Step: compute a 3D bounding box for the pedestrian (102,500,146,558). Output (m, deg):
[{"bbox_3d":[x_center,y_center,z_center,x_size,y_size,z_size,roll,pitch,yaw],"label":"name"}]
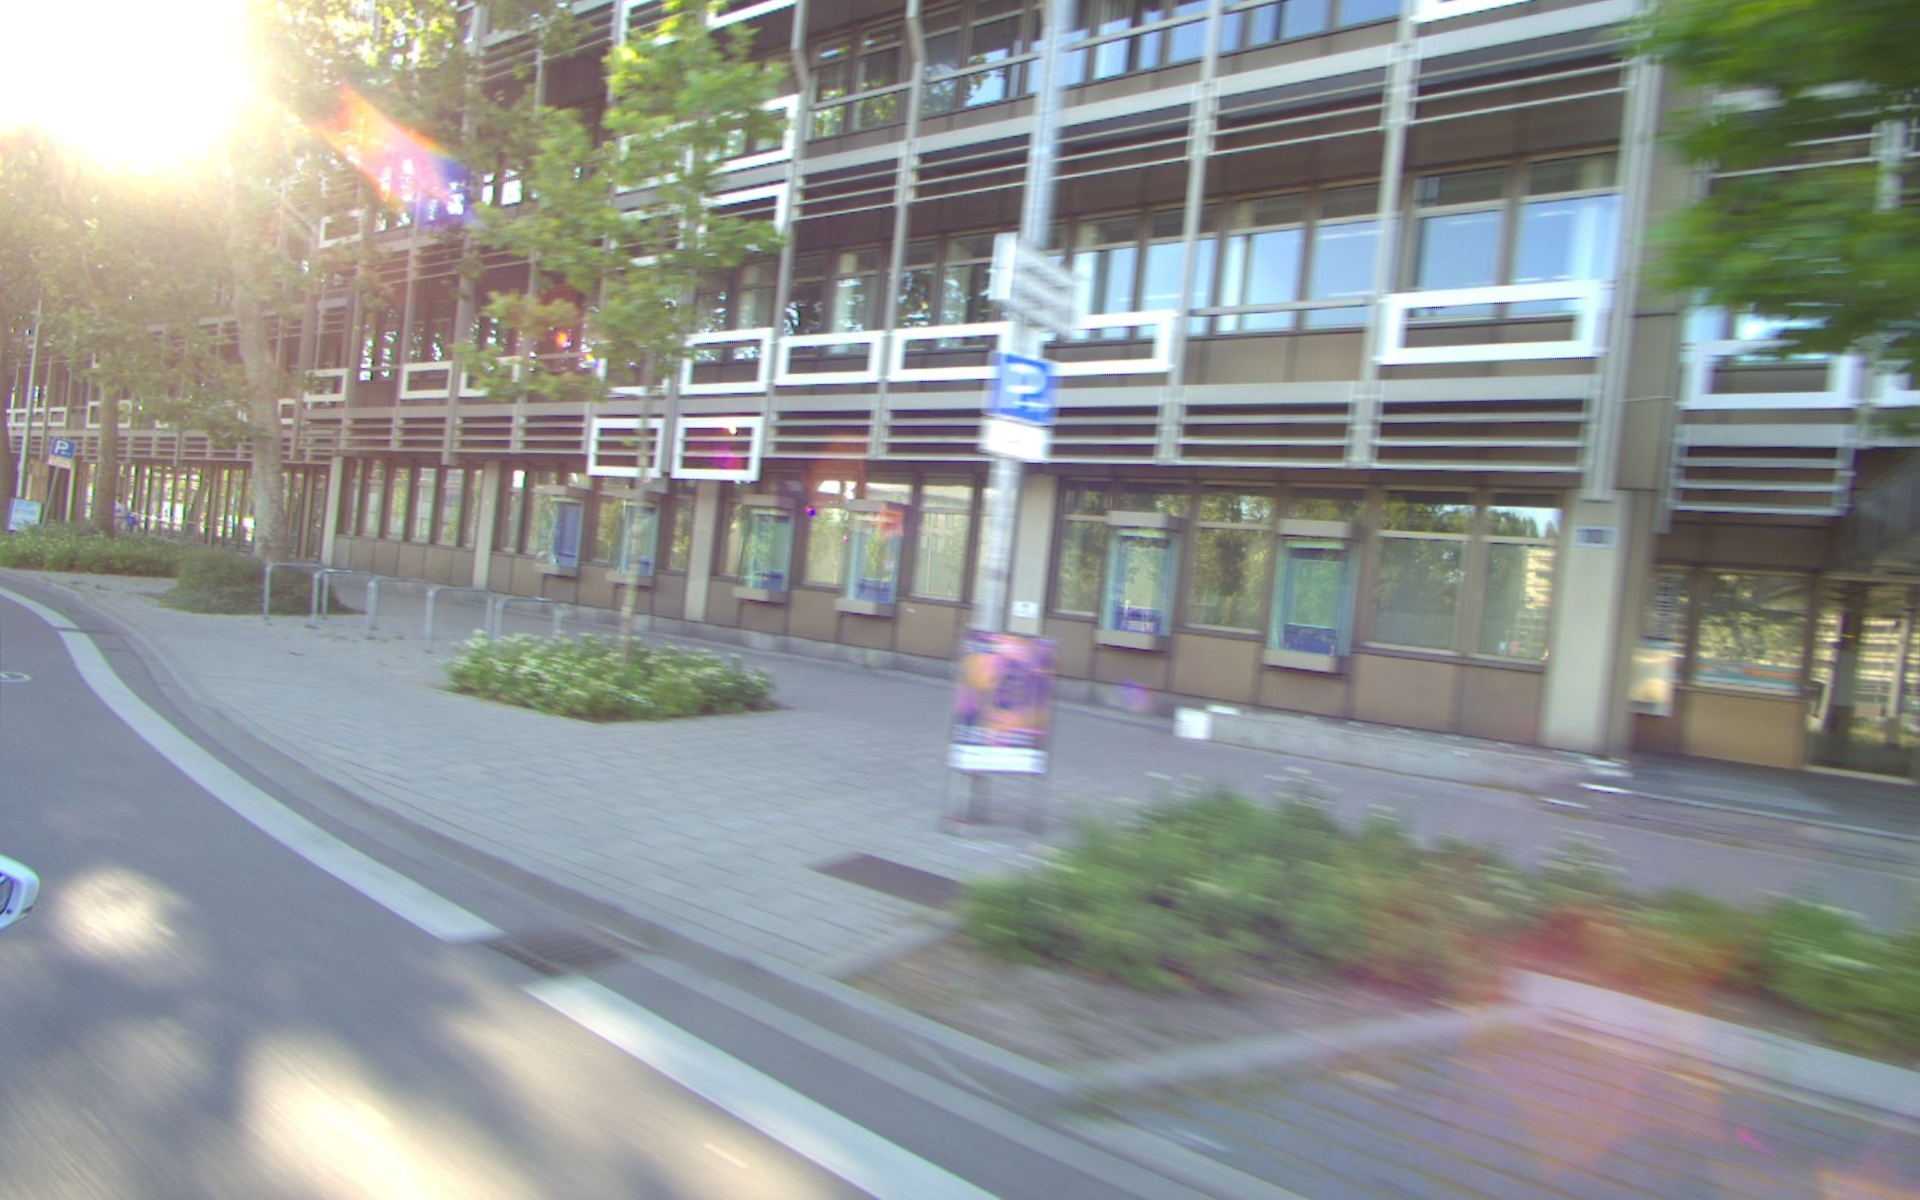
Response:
[{"bbox_3d":[-29.276,-2.482,35.223,0.833,1.879,0.832,7,0,32],"label":"pedestrian"}]
